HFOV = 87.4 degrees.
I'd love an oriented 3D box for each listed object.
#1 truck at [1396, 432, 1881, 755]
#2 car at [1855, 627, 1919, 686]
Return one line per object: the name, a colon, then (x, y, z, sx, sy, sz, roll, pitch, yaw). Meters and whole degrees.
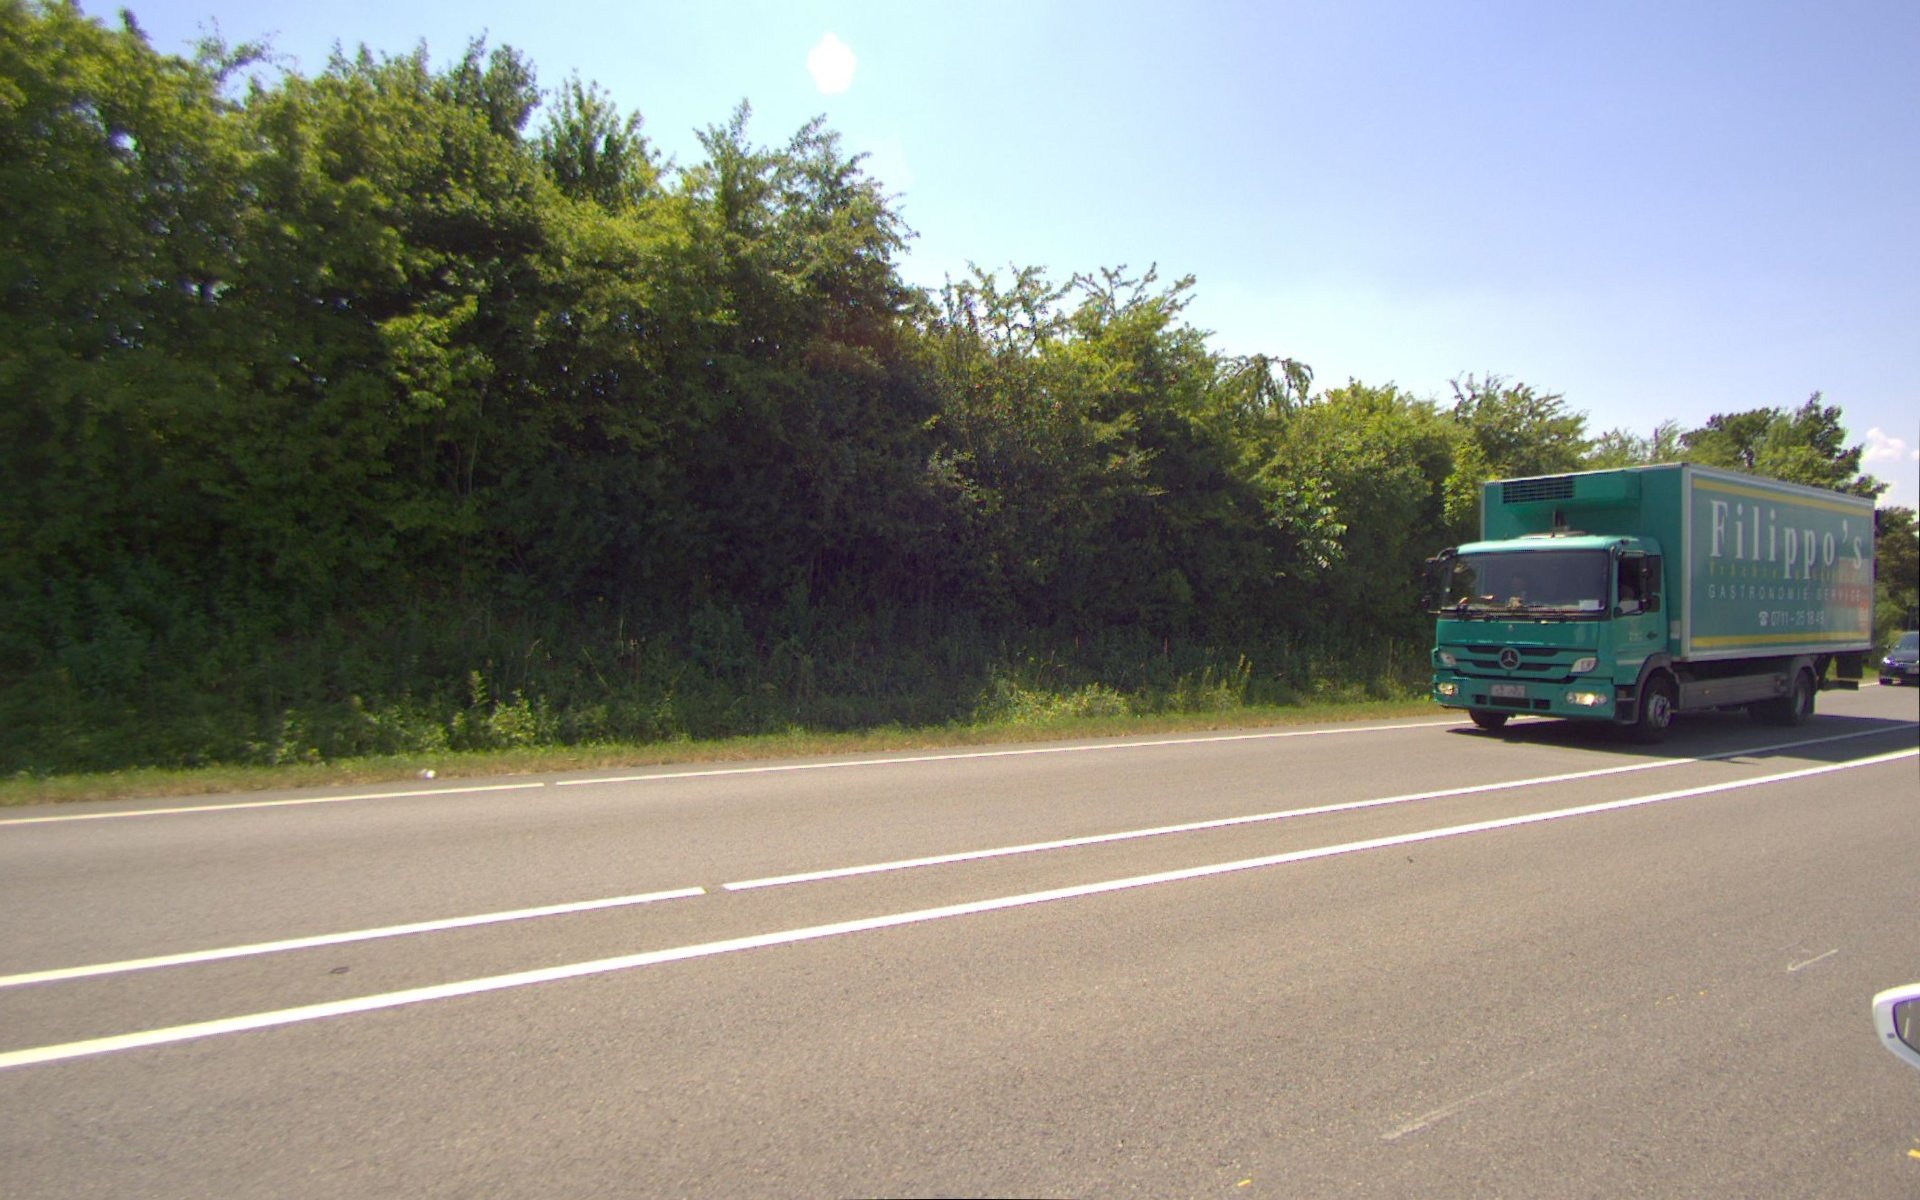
truck: (10.572, 0.011, 15.115, 9.335, 3.622, 2.850, 1, 0, -35)
car: (25.737, 1.476, 26.976, 4.292, 1.461, 1.862, 1, 0, -39)
